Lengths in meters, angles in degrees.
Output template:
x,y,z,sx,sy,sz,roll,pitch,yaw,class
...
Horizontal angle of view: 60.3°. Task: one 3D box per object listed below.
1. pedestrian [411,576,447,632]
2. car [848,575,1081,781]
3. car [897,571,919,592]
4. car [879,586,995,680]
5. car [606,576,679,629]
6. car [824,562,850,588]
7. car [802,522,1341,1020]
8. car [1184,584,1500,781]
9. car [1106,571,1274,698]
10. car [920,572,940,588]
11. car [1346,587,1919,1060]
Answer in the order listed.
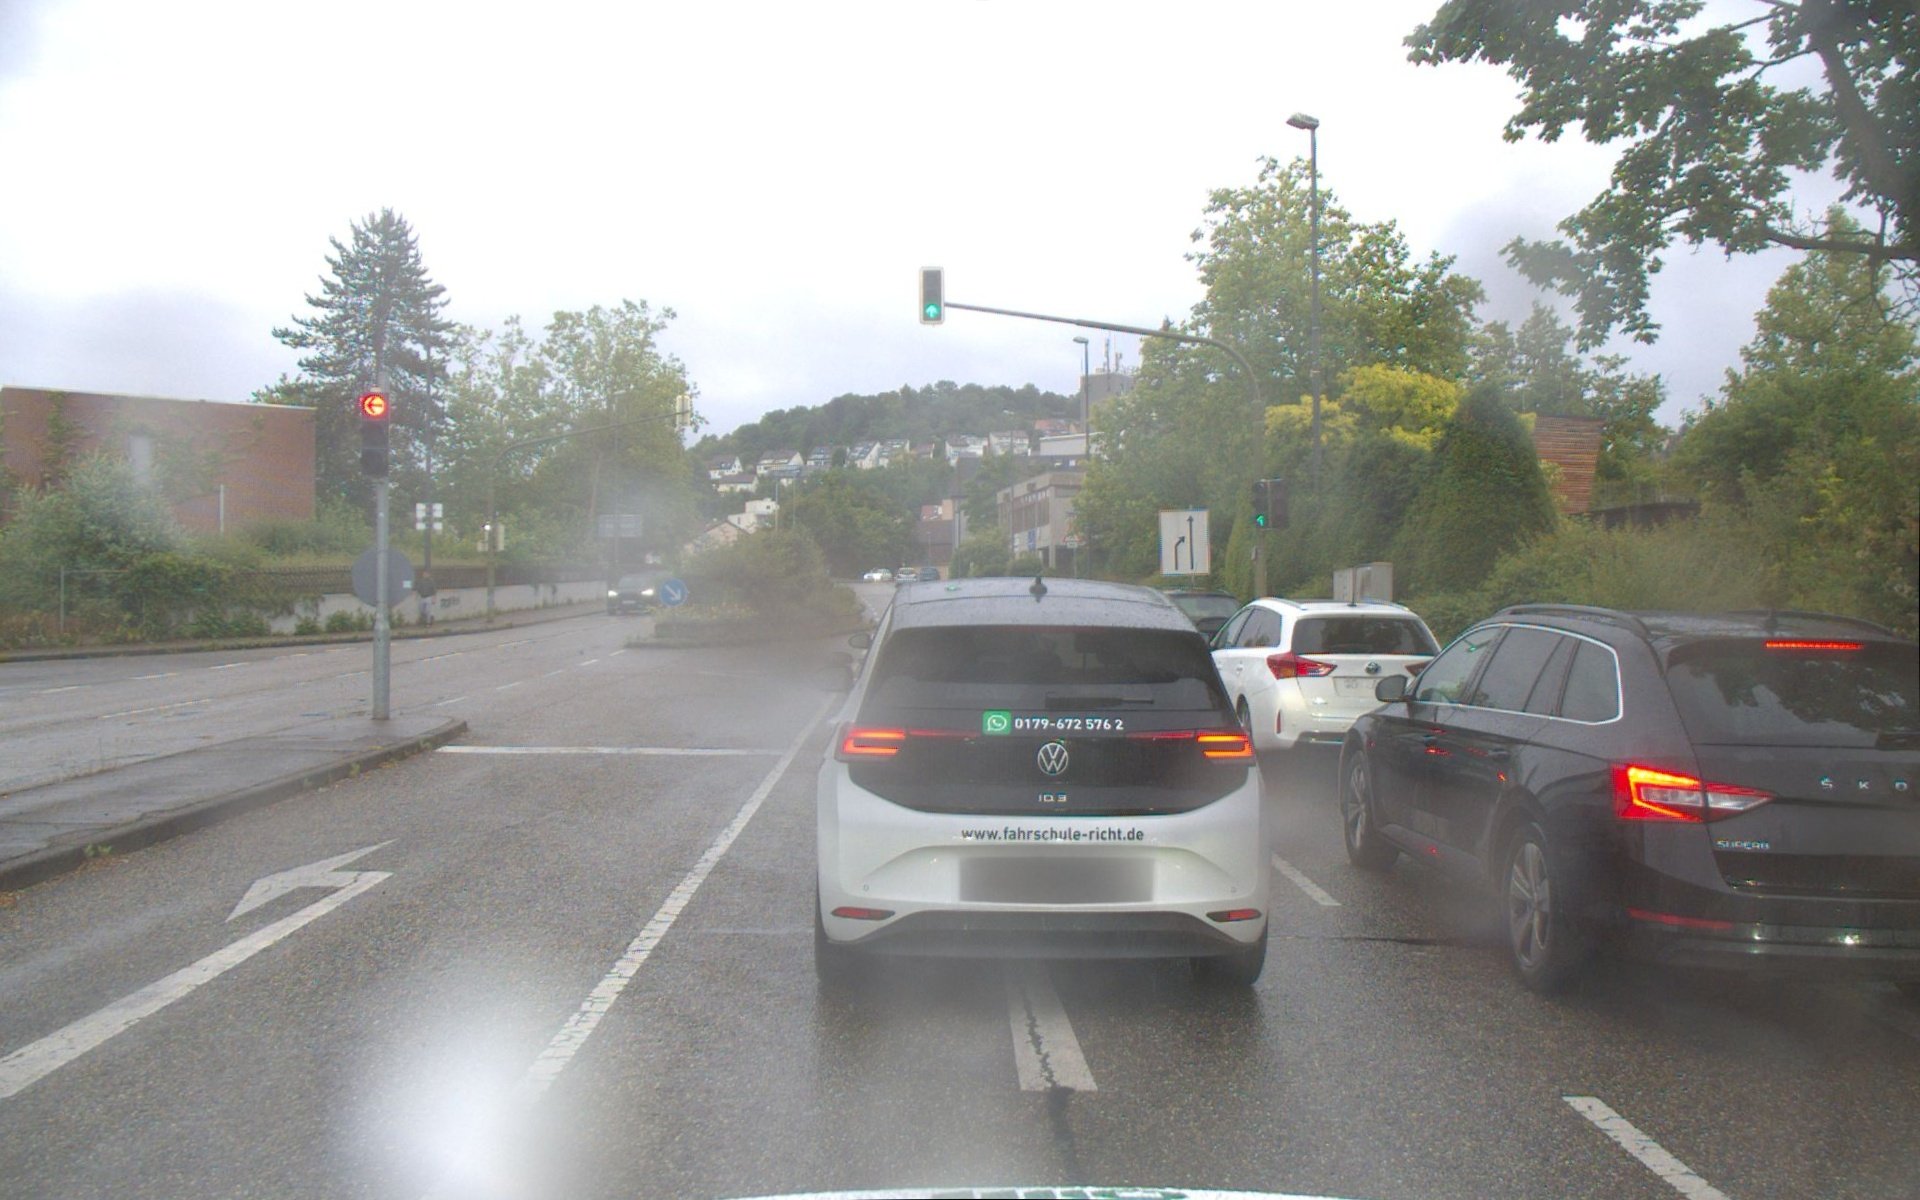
x,y,z,sx,sy,sz,roll,pitch,yaw,class
-15.654,0.111,48.806,0.744,1.595,0.825,-2,0,-2,pedestrian
-0.015,0.598,15.128,1.800,1.582,4.174,1,1,-1,car
-3.855,-1.337,122.390,1.549,1.492,3.998,-1,0,-2,car
-0.410,0.500,27.969,1.800,1.424,3.830,1,1,-1,car
-12.023,0.090,62.869,1.953,1.836,3.999,-3,0,-1,car
-10.379,-2.065,140.059,1.953,2.049,3.999,1,-1,-1,car
0.330,0.562,7.938,1.800,1.657,4.614,1,1,-1,car
3.275,0.628,15.029,1.800,1.492,4.116,1,1,-1,car
3.154,0.448,23.385,1.739,1.609,3.999,1,0,-1,car
-2.869,-1.922,158.475,1.726,1.443,3.747,-1,1,-3,car
3.148,0.714,7.494,1.800,1.492,4.350,1,1,1,car
